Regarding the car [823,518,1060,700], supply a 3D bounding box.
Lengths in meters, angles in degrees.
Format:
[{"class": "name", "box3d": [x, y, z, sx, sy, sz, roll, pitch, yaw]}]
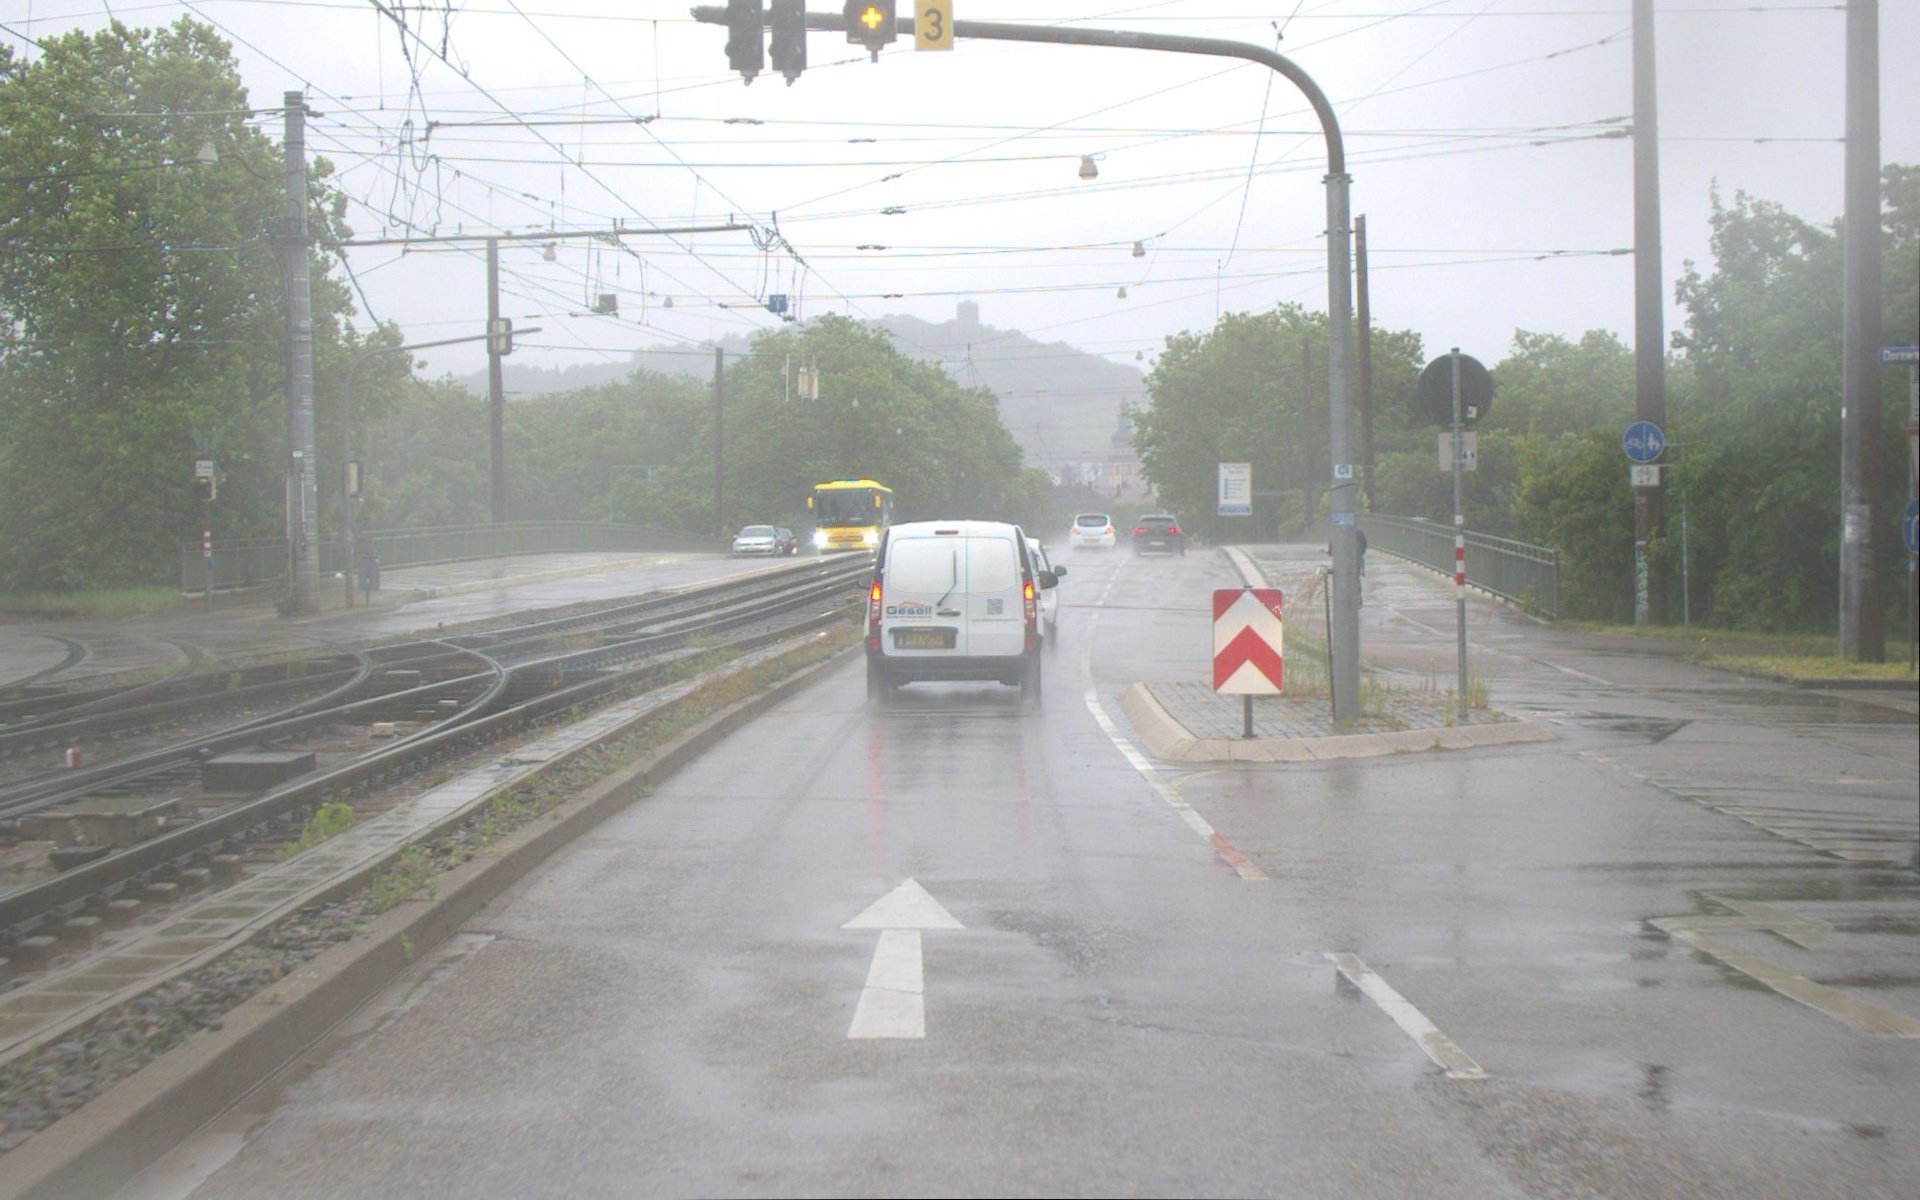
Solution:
[{"class": "car", "box3d": [-0.126, 0.073, 35.264, 1.994, 1.720, 3.999, 1, 0, 6]}]

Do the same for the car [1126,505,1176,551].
[{"class": "car", "box3d": [6.490, -2.448, 117.020, 1.451, 1.494, 2.982, 1, 0, -1]}]

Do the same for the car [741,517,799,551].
[{"class": "car", "box3d": [-8.002, -2.795, 145.153, 1.934, 1.227, 4.100, -2, 3, 3]}]

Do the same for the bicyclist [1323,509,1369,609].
[{"class": "bicyclist", "box3d": [6.855, -0.729, 61.052, 0.725, 1.758, 0.949, 1, 0, 4]}]

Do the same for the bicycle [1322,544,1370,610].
[{"class": "bicycle", "box3d": [6.856, -0.421, 61.083, 0.723, 1.125, 2.167, 1, 1, 4]}]

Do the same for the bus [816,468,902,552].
[{"class": "bus", "box3d": [-4.340, -4.021, 150.372, 2.708, 3.329, 10.993, -2, 3, 3]}]

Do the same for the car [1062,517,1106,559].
[{"class": "car", "box3d": [4.607, -2.291, 128.013, 1.451, 1.494, 2.982, 1, 0, -1]}]
